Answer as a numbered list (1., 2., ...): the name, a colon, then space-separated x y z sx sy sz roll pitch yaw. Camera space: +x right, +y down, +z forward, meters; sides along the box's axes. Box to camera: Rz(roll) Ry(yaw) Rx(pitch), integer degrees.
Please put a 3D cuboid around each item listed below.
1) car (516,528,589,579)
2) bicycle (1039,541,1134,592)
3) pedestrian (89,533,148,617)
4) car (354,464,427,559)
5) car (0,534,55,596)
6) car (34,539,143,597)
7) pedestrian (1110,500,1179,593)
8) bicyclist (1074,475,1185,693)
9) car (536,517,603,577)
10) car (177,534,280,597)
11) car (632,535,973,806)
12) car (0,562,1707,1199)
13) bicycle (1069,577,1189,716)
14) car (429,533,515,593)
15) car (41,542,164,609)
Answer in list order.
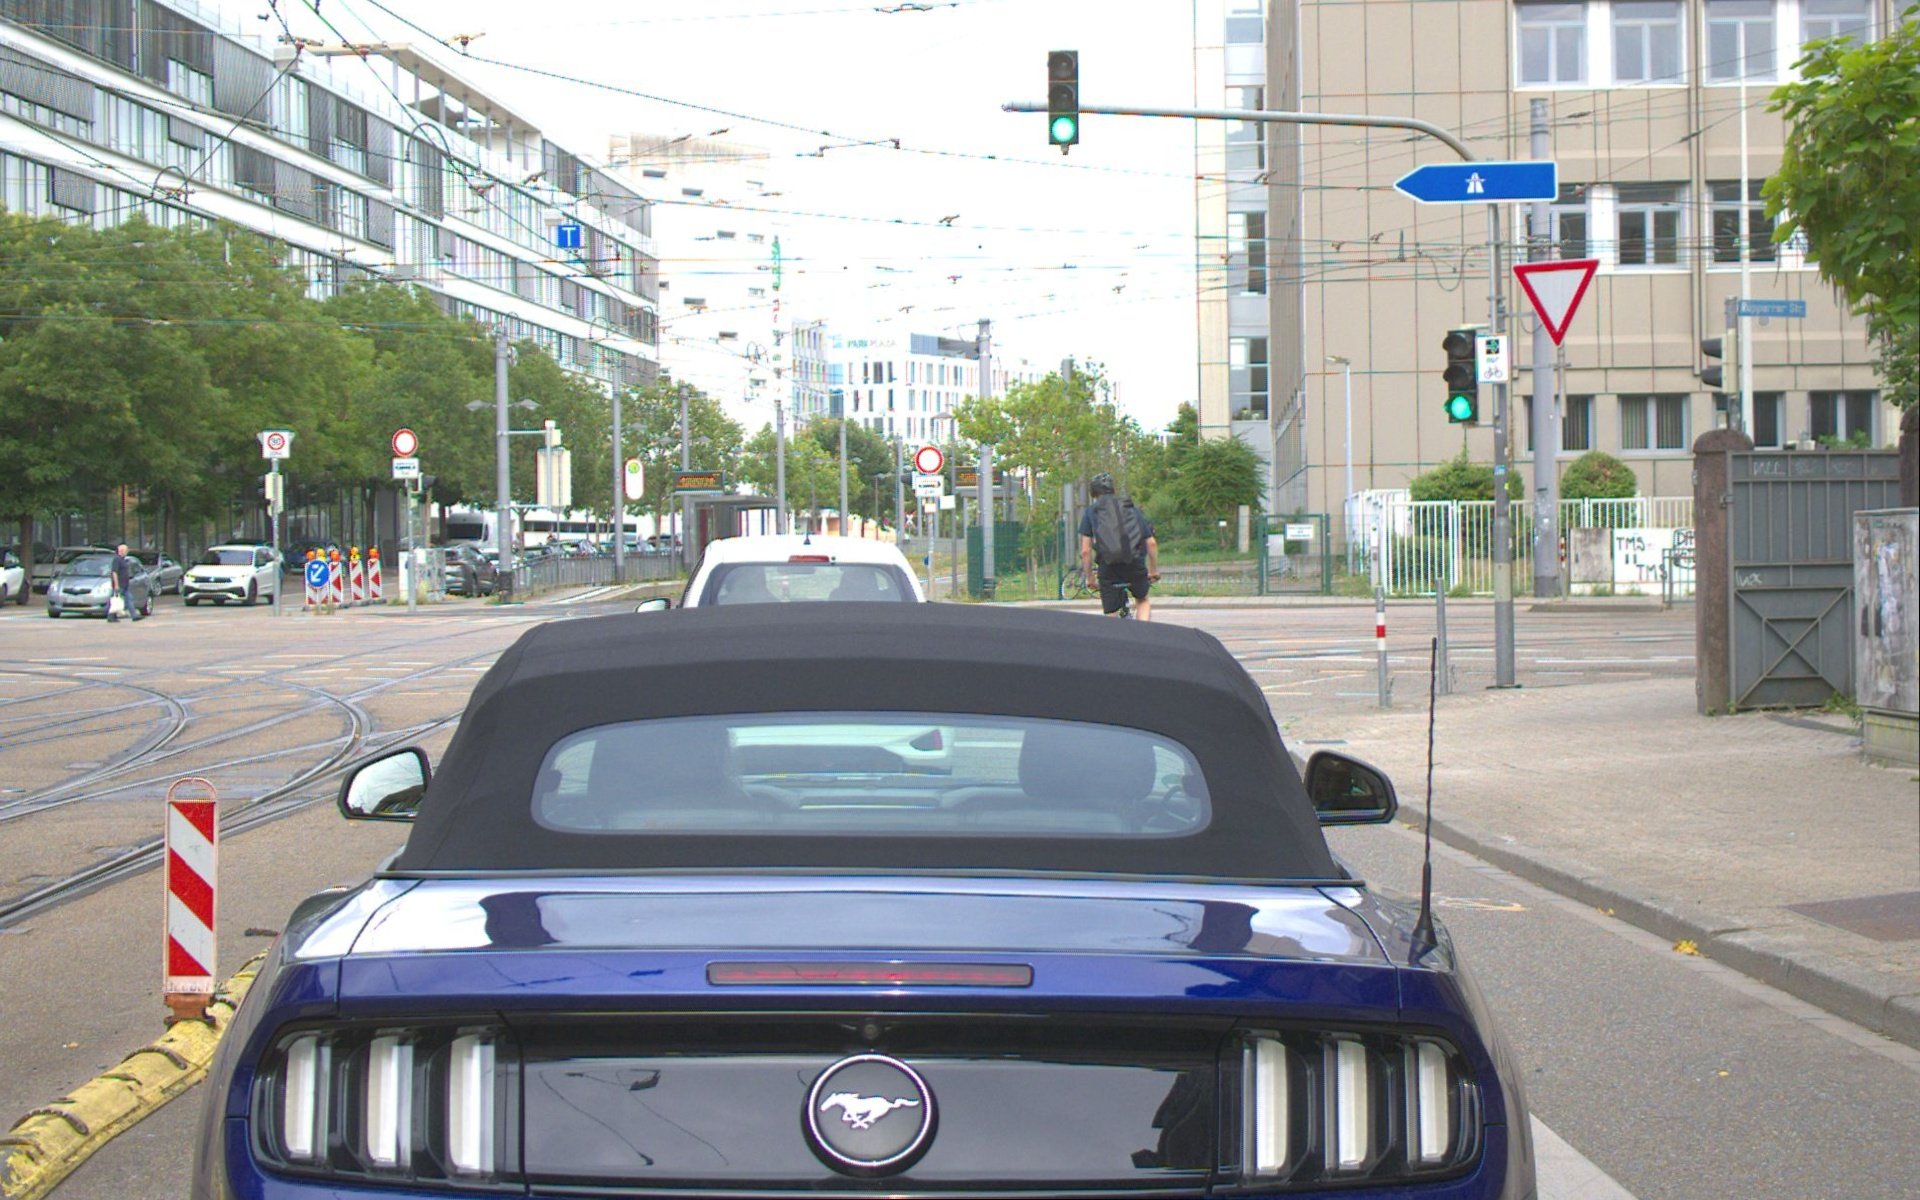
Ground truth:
1. car: -13.099 -1.513 110.785 1.868 1.600 4.213 -1 1 -1
2. bicycle: 2.669 -0.701 72.752 0.632 0.977 2.157 -2 -1 -42
3. pedestrian: -18.762 -0.566 76.671 0.989 1.849 0.901 -1 1 7
4. car: -22.388 -3.467 135.336 1.986 3.624 4.512 1 1 1
5. car: -25.541 -0.938 91.026 1.830 1.551 4.216 1 1 3
6. car: -24.850 -0.941 98.156 1.830 1.551 4.216 1 1 3
7. pedestrian: 3.815 -1.113 71.118 1.088 1.891 0.900 0 1 32
8. bicyclist: 1.408 -0.145 28.826 0.796 1.779 1.233 -1 1 -2
9. car: -13.143 -1.802 115.949 1.785 1.980 4.121 -1 1 -1
10. car: -20.037 -0.964 94.298 1.715 1.654 4.133 1 1 3
11. car: -1.024 0.343 20.821 1.835 1.434 4.188 -1 1 -5
12. car: -0.140 0.667 5.914 1.876 1.399 4.282 1 1 0
13. bicycle: 1.404 0.367 28.914 0.800 1.082 2.132 -1 1 -2
14. car: -13.775 -1.054 97.255 1.879 1.623 4.087 -1 1 -1
15. car: -20.672 -0.609 83.009 1.668 1.501 4.234 1 1 3
